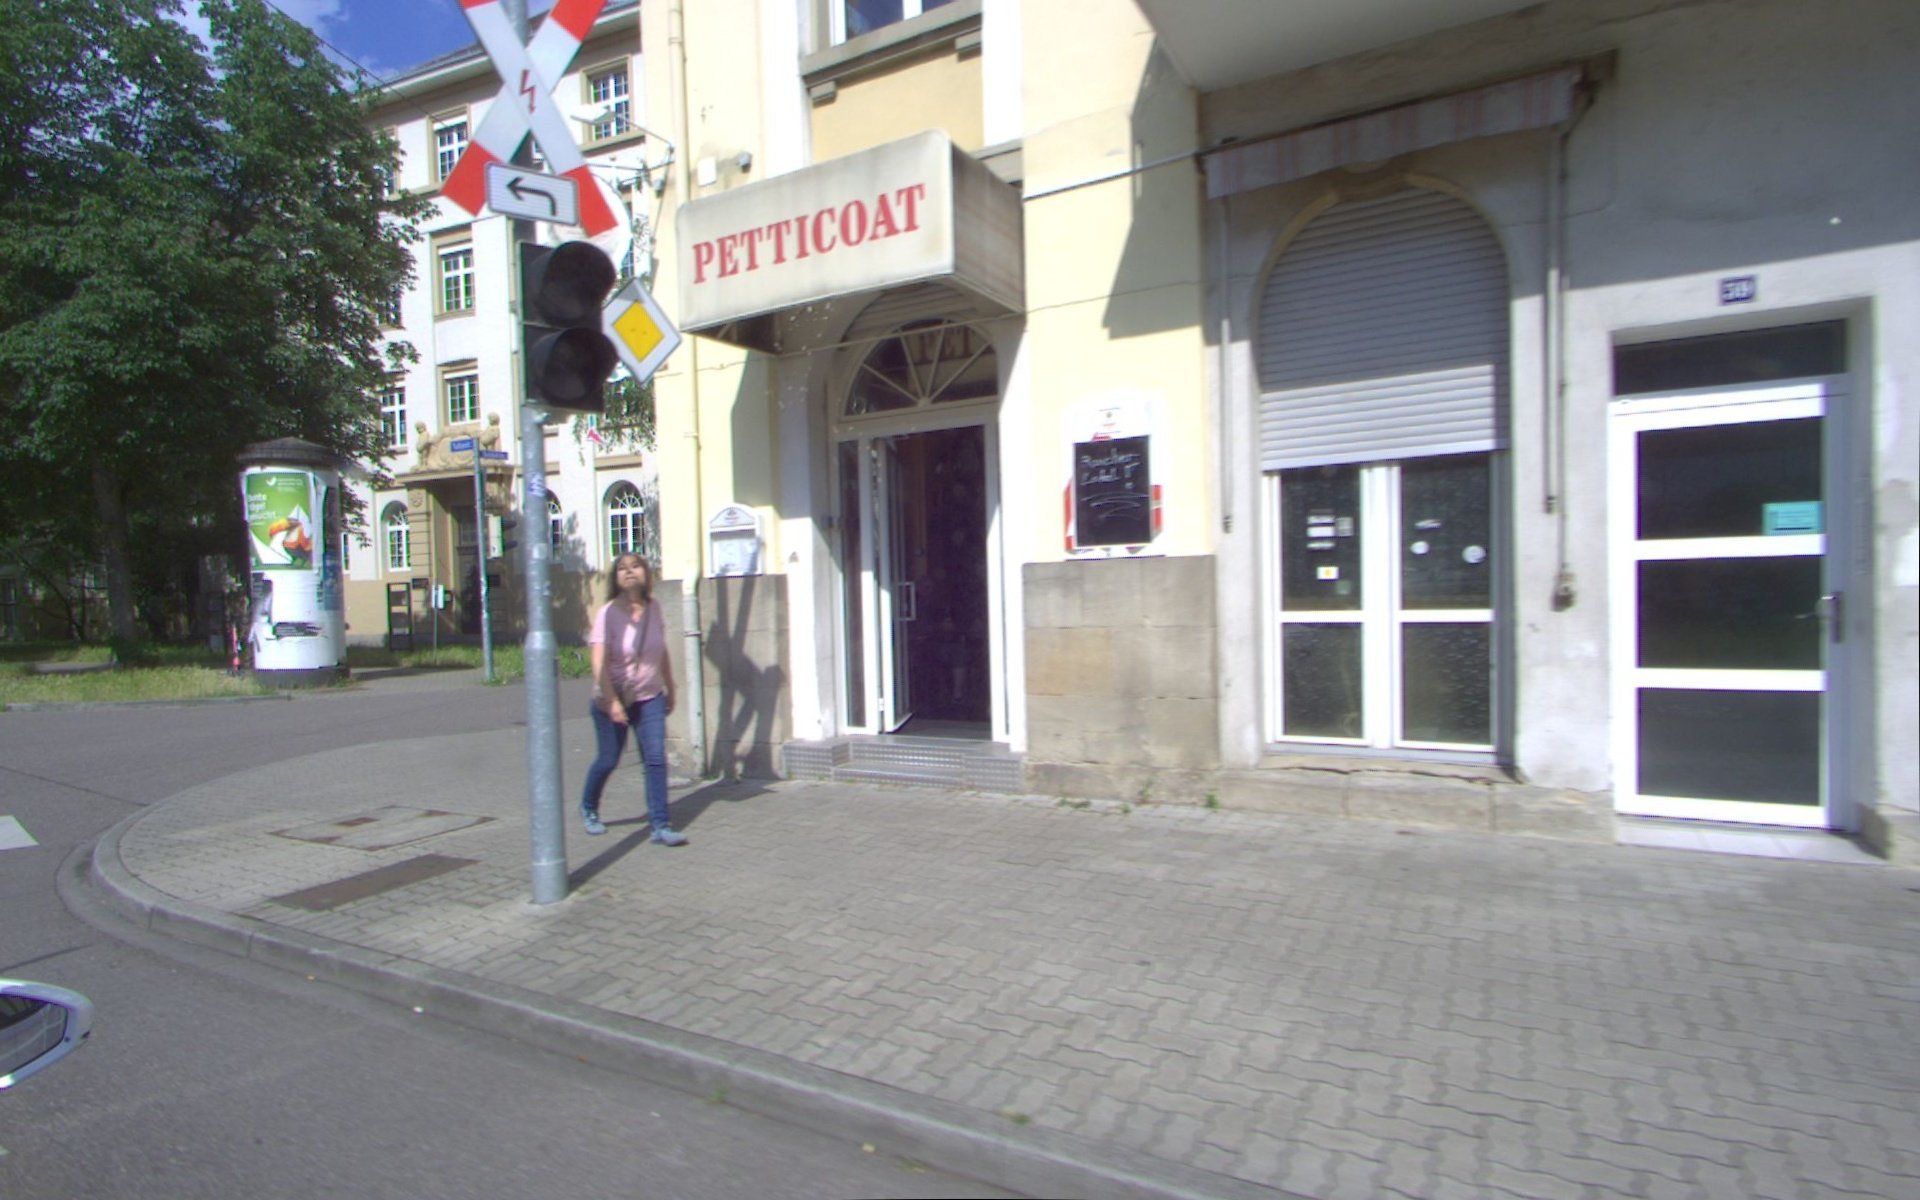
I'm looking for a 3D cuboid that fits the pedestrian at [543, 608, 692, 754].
[{"bbox_3d":[-3.227,0.752,9.422,1.284,1.285,0.534,-3,0,27],"label":"pedestrian"}]

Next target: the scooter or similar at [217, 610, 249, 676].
[{"bbox_3d":[-13.602,0.790,18.730,0.303,1.205,1.151,-3,2,-43],"label":"scooter or similar"}]

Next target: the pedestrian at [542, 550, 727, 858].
[{"bbox_3d":[-1.916,0.563,5.907,0.754,1.670,0.669,-1,2,38],"label":"pedestrian"}]
